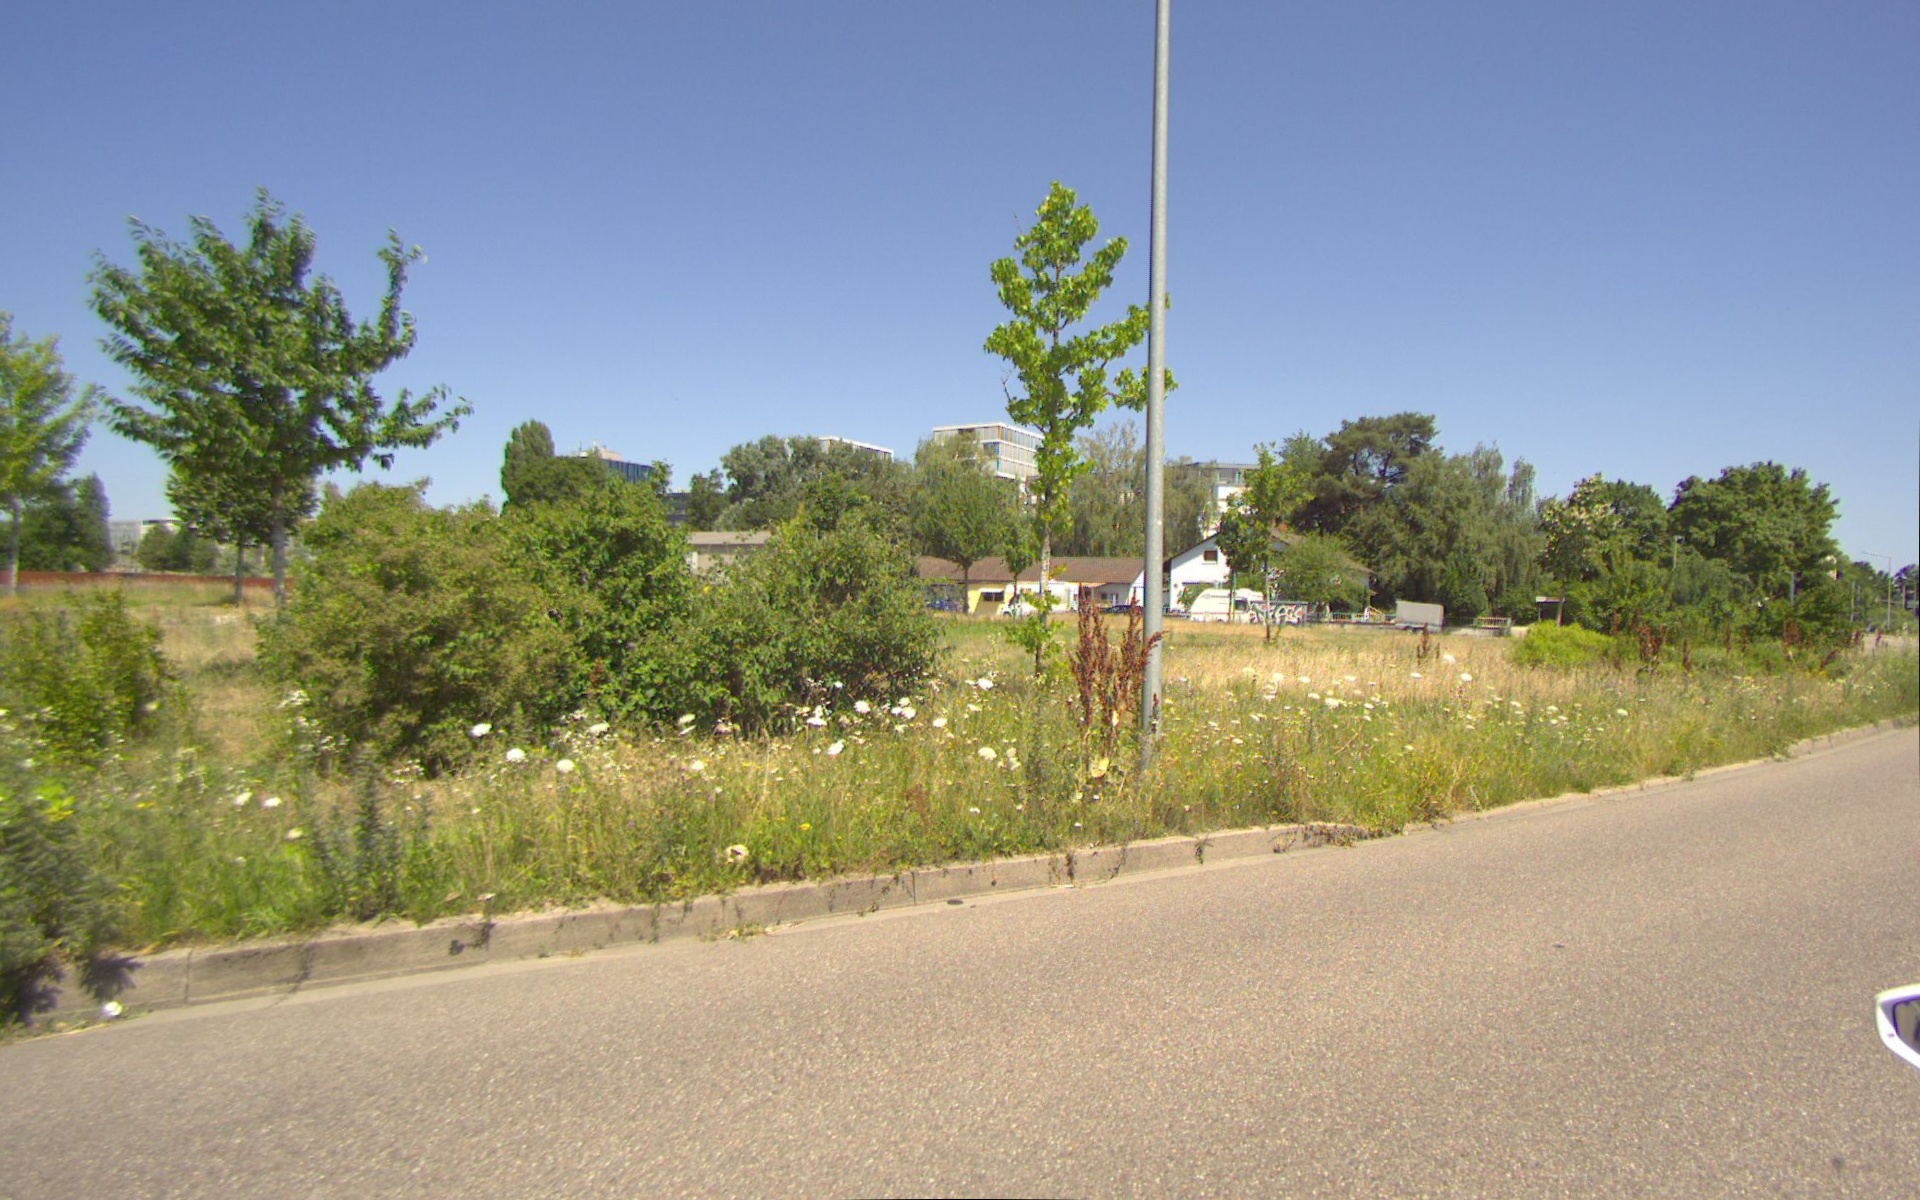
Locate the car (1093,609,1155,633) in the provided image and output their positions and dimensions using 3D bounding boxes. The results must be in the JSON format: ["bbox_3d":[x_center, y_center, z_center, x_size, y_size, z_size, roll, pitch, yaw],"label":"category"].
[{"bbox_3d":[11.765,1.517,72.279,3.935,1.573,1.908,2,0,36],"label":"car"}]

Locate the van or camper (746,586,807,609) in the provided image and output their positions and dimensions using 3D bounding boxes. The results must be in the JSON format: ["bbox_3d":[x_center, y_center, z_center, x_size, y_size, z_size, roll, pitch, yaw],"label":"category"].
[{"bbox_3d":[-16.379,-0.204,89.681,4.969,1.905,2.353,2,0,31],"label":"van or camper"}]

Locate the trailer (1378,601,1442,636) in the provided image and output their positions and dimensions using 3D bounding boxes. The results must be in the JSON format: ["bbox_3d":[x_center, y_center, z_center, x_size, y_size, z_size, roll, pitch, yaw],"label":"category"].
[{"bbox_3d":[27.799,1.134,62.075,3.367,2.073,1.755,2,0,34],"label":"trailer"}]

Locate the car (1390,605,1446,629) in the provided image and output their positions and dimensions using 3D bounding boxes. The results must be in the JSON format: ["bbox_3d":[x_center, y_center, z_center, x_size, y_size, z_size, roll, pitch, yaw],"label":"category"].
[{"bbox_3d":[32.272,1.207,70.760,3.290,1.598,1.767,1,0,36],"label":"car"}]

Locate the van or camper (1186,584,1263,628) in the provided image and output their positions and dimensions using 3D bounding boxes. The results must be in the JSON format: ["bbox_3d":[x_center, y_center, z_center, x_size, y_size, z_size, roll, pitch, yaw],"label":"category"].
[{"bbox_3d":[17.900,0.396,67.987,4.391,2.626,2.485,4,2,34],"label":"van or camper"}]

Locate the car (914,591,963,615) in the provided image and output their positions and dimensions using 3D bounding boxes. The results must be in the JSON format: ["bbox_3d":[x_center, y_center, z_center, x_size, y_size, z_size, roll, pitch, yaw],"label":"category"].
[{"bbox_3d":[-1.716,0.218,80.264,3.517,1.795,1.754,1,0,31],"label":"car"}]

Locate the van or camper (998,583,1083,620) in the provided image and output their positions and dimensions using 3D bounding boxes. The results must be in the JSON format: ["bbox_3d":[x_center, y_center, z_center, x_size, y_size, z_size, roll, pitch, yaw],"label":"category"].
[{"bbox_3d":[6.064,0.072,75.753,5.867,2.628,2.466,2,0,33],"label":"van or camper"}]
